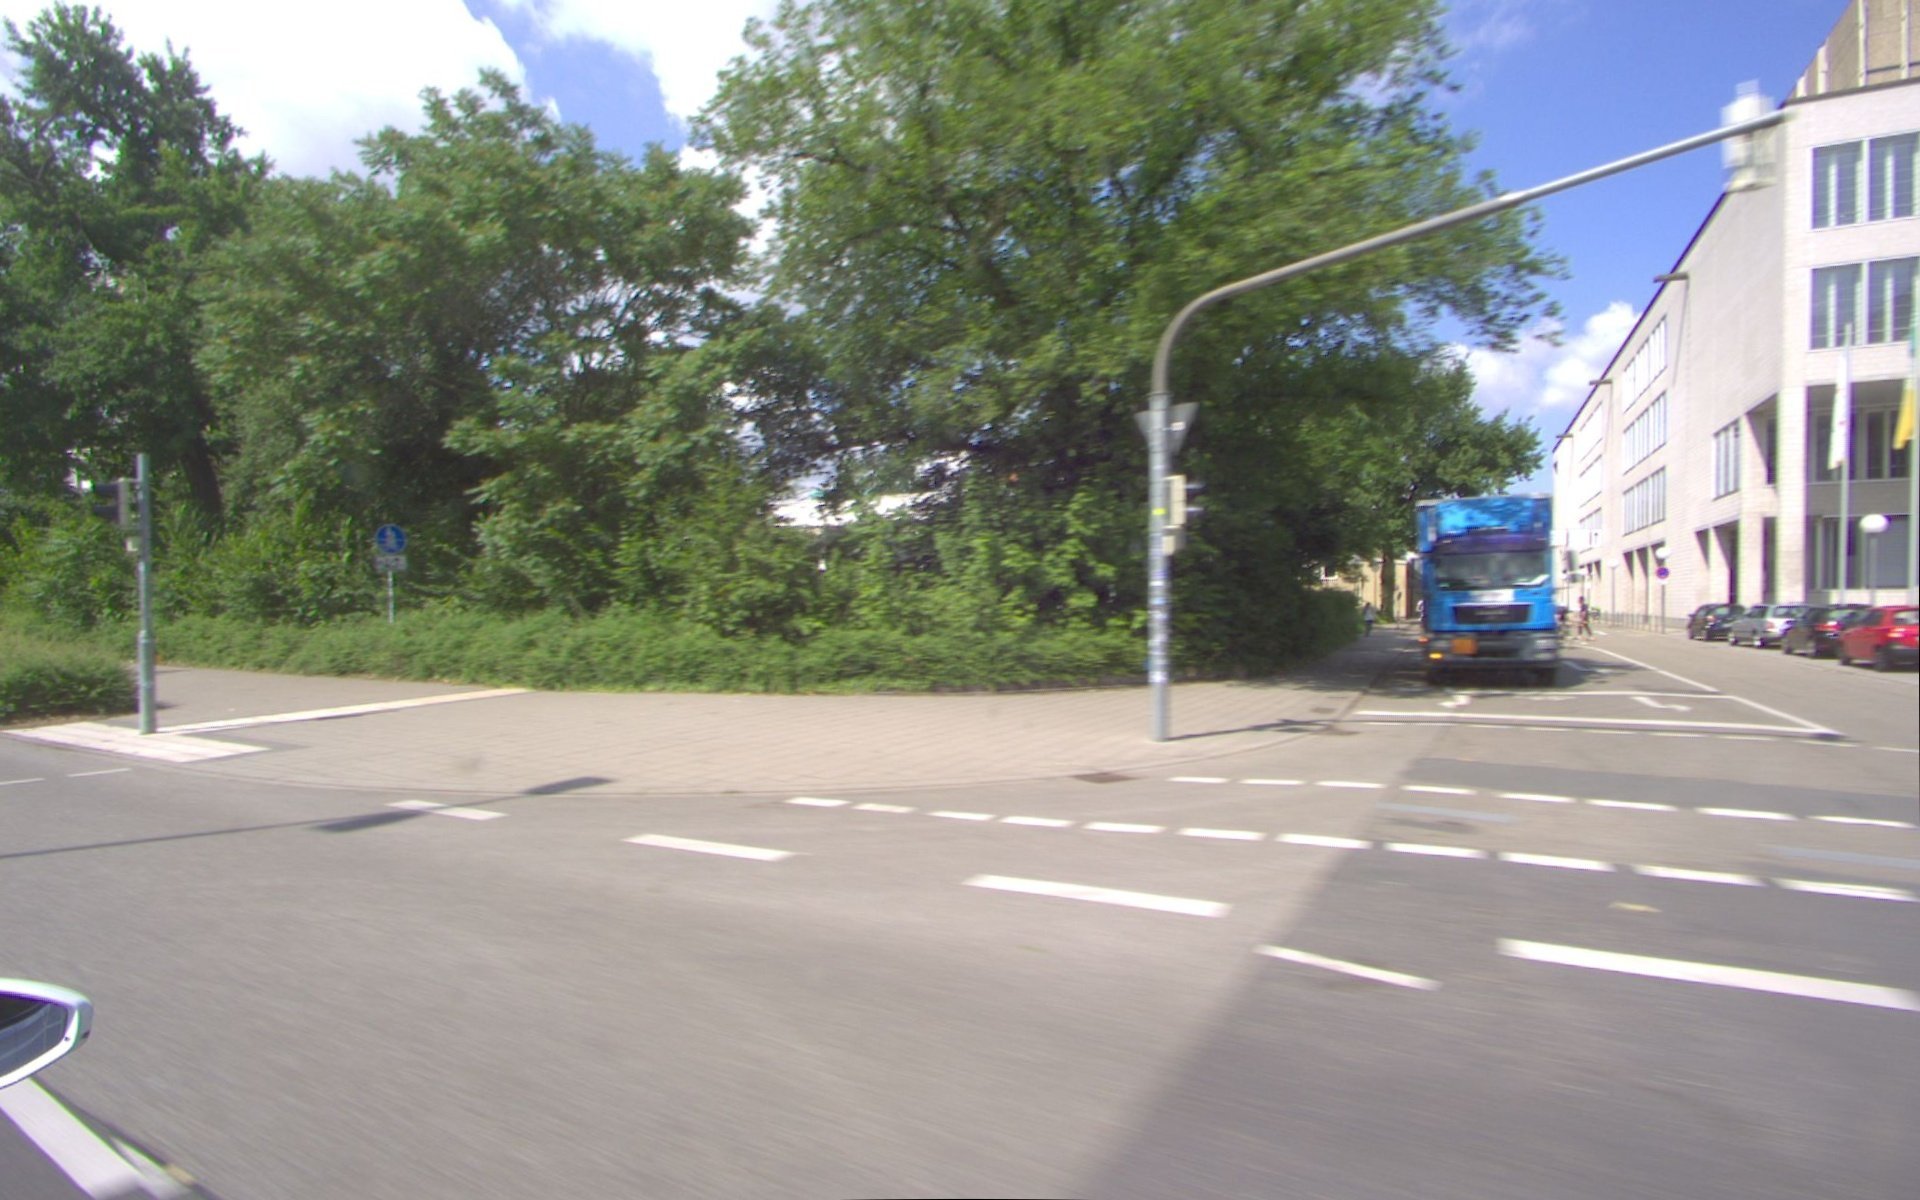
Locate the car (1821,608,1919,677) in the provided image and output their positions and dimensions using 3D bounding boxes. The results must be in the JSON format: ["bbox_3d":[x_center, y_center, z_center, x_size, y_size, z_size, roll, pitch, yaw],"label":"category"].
[{"bbox_3d":[22.371,0.958,23.842,1.694,1.498,3.988,-2,-1,24],"label":"car"}]

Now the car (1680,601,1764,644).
[{"bbox_3d":[29.949,0.849,39.479,1.781,1.589,3.987,0,0,25],"label":"car"}]

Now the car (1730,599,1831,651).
[{"bbox_3d":[27.173,0.788,33.309,1.757,1.634,3.985,0,0,27],"label":"car"}]

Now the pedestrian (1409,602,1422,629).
[{"bbox_3d":[29.393,0.987,64.625,0.708,1.705,0.680,0,0,25],"label":"pedestrian"}]

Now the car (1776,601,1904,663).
[{"bbox_3d":[24.772,0.856,28.348,1.757,1.634,3.985,0,0,27],"label":"car"}]

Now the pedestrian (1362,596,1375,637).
[{"bbox_3d":[18.447,0.754,45.215,0.477,1.846,0.537,0,0,17],"label":"pedestrian"}]

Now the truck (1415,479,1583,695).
[{"bbox_3d":[12.195,-0.223,23.421,2.734,3.933,10.108,-1,0,25],"label":"truck"}]

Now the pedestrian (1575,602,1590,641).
[{"bbox_3d":[25.084,0.868,40.351,0.472,1.577,0.373,0,0,21],"label":"pedestrian"}]
